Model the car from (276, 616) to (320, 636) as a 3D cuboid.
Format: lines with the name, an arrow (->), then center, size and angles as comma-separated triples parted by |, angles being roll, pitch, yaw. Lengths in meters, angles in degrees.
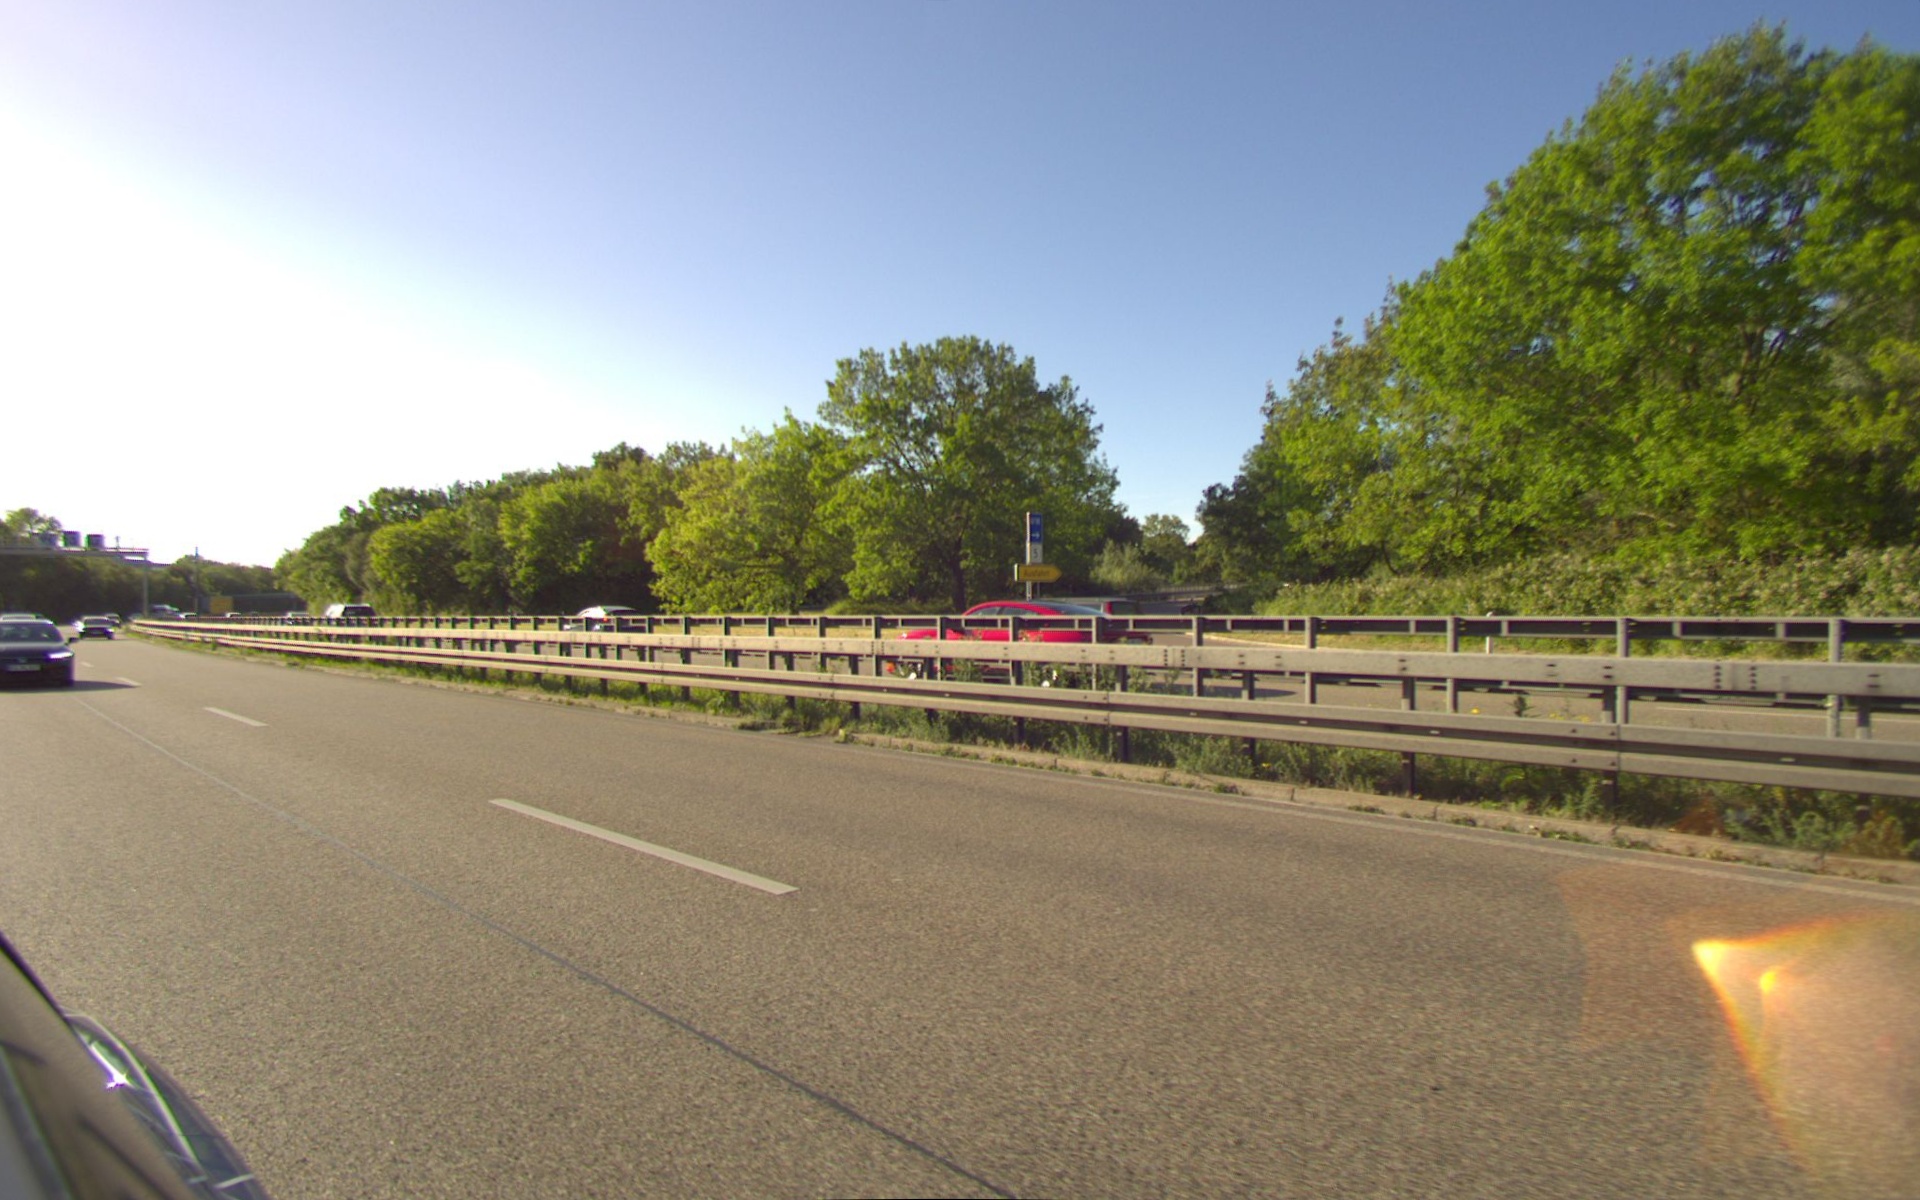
car -> -51.243, 1.977, 78.269 | 1.970, 1.425, 4.834 | -2, 0, -44

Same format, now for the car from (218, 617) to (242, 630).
car -> -85.441, 2.763, 118.444 | 1.969, 1.425, 4.839 | -2, 0, -40

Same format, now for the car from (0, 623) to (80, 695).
car -> -20.958, 1.250, 22.397 | 1.970, 1.425, 4.834 | 0, -1, -44

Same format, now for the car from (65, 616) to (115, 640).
car -> -56.667, 1.803, 65.875 | 4.832, 1.425, 1.971 | -2, 0, 44

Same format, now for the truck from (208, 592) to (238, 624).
truck -> -109.514, 1.148, 150.306 | 3.125, 4.452, 8.035 | -4, 1, -38

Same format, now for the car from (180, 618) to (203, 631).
car -> -91.096, 2.886, 119.950 | 1.969, 1.425, 4.839 | -2, 0, -40

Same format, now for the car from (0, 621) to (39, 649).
car -> -52.227, 1.939, 55.800 | 1.970, 1.425, 4.834 | -2, 0, -44

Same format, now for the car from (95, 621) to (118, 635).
car -> -100.175, 3.272, 118.803 | 1.968, 1.425, 4.839 | -2, 0, -39

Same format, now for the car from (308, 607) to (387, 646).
car -> -28.154, 1.204, 46.457 | 4.722, 1.653, 1.971 | -2, 0, 44

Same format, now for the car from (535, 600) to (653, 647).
car -> -12.787, 0.801, 35.176 | 4.722, 1.489, 1.971 | -2, 0, 44

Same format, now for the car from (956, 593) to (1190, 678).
car -> 2.411, 0.748, 22.632 | 5.029, 1.653, 1.971 | -2, 0, 44

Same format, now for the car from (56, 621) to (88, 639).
car -> -77.328, 2.614, 88.156 | 1.969, 1.425, 4.837 | -2, 0, -41

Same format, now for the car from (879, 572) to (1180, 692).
car -> 0.983, 0.511, 16.375 | 4.722, 1.653, 1.971 | -2, -3, 44

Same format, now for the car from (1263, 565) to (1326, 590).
car -> 26.058, -1.739, 78.825 | 4.640, 1.817, 2.006 | -2, 0, -30
